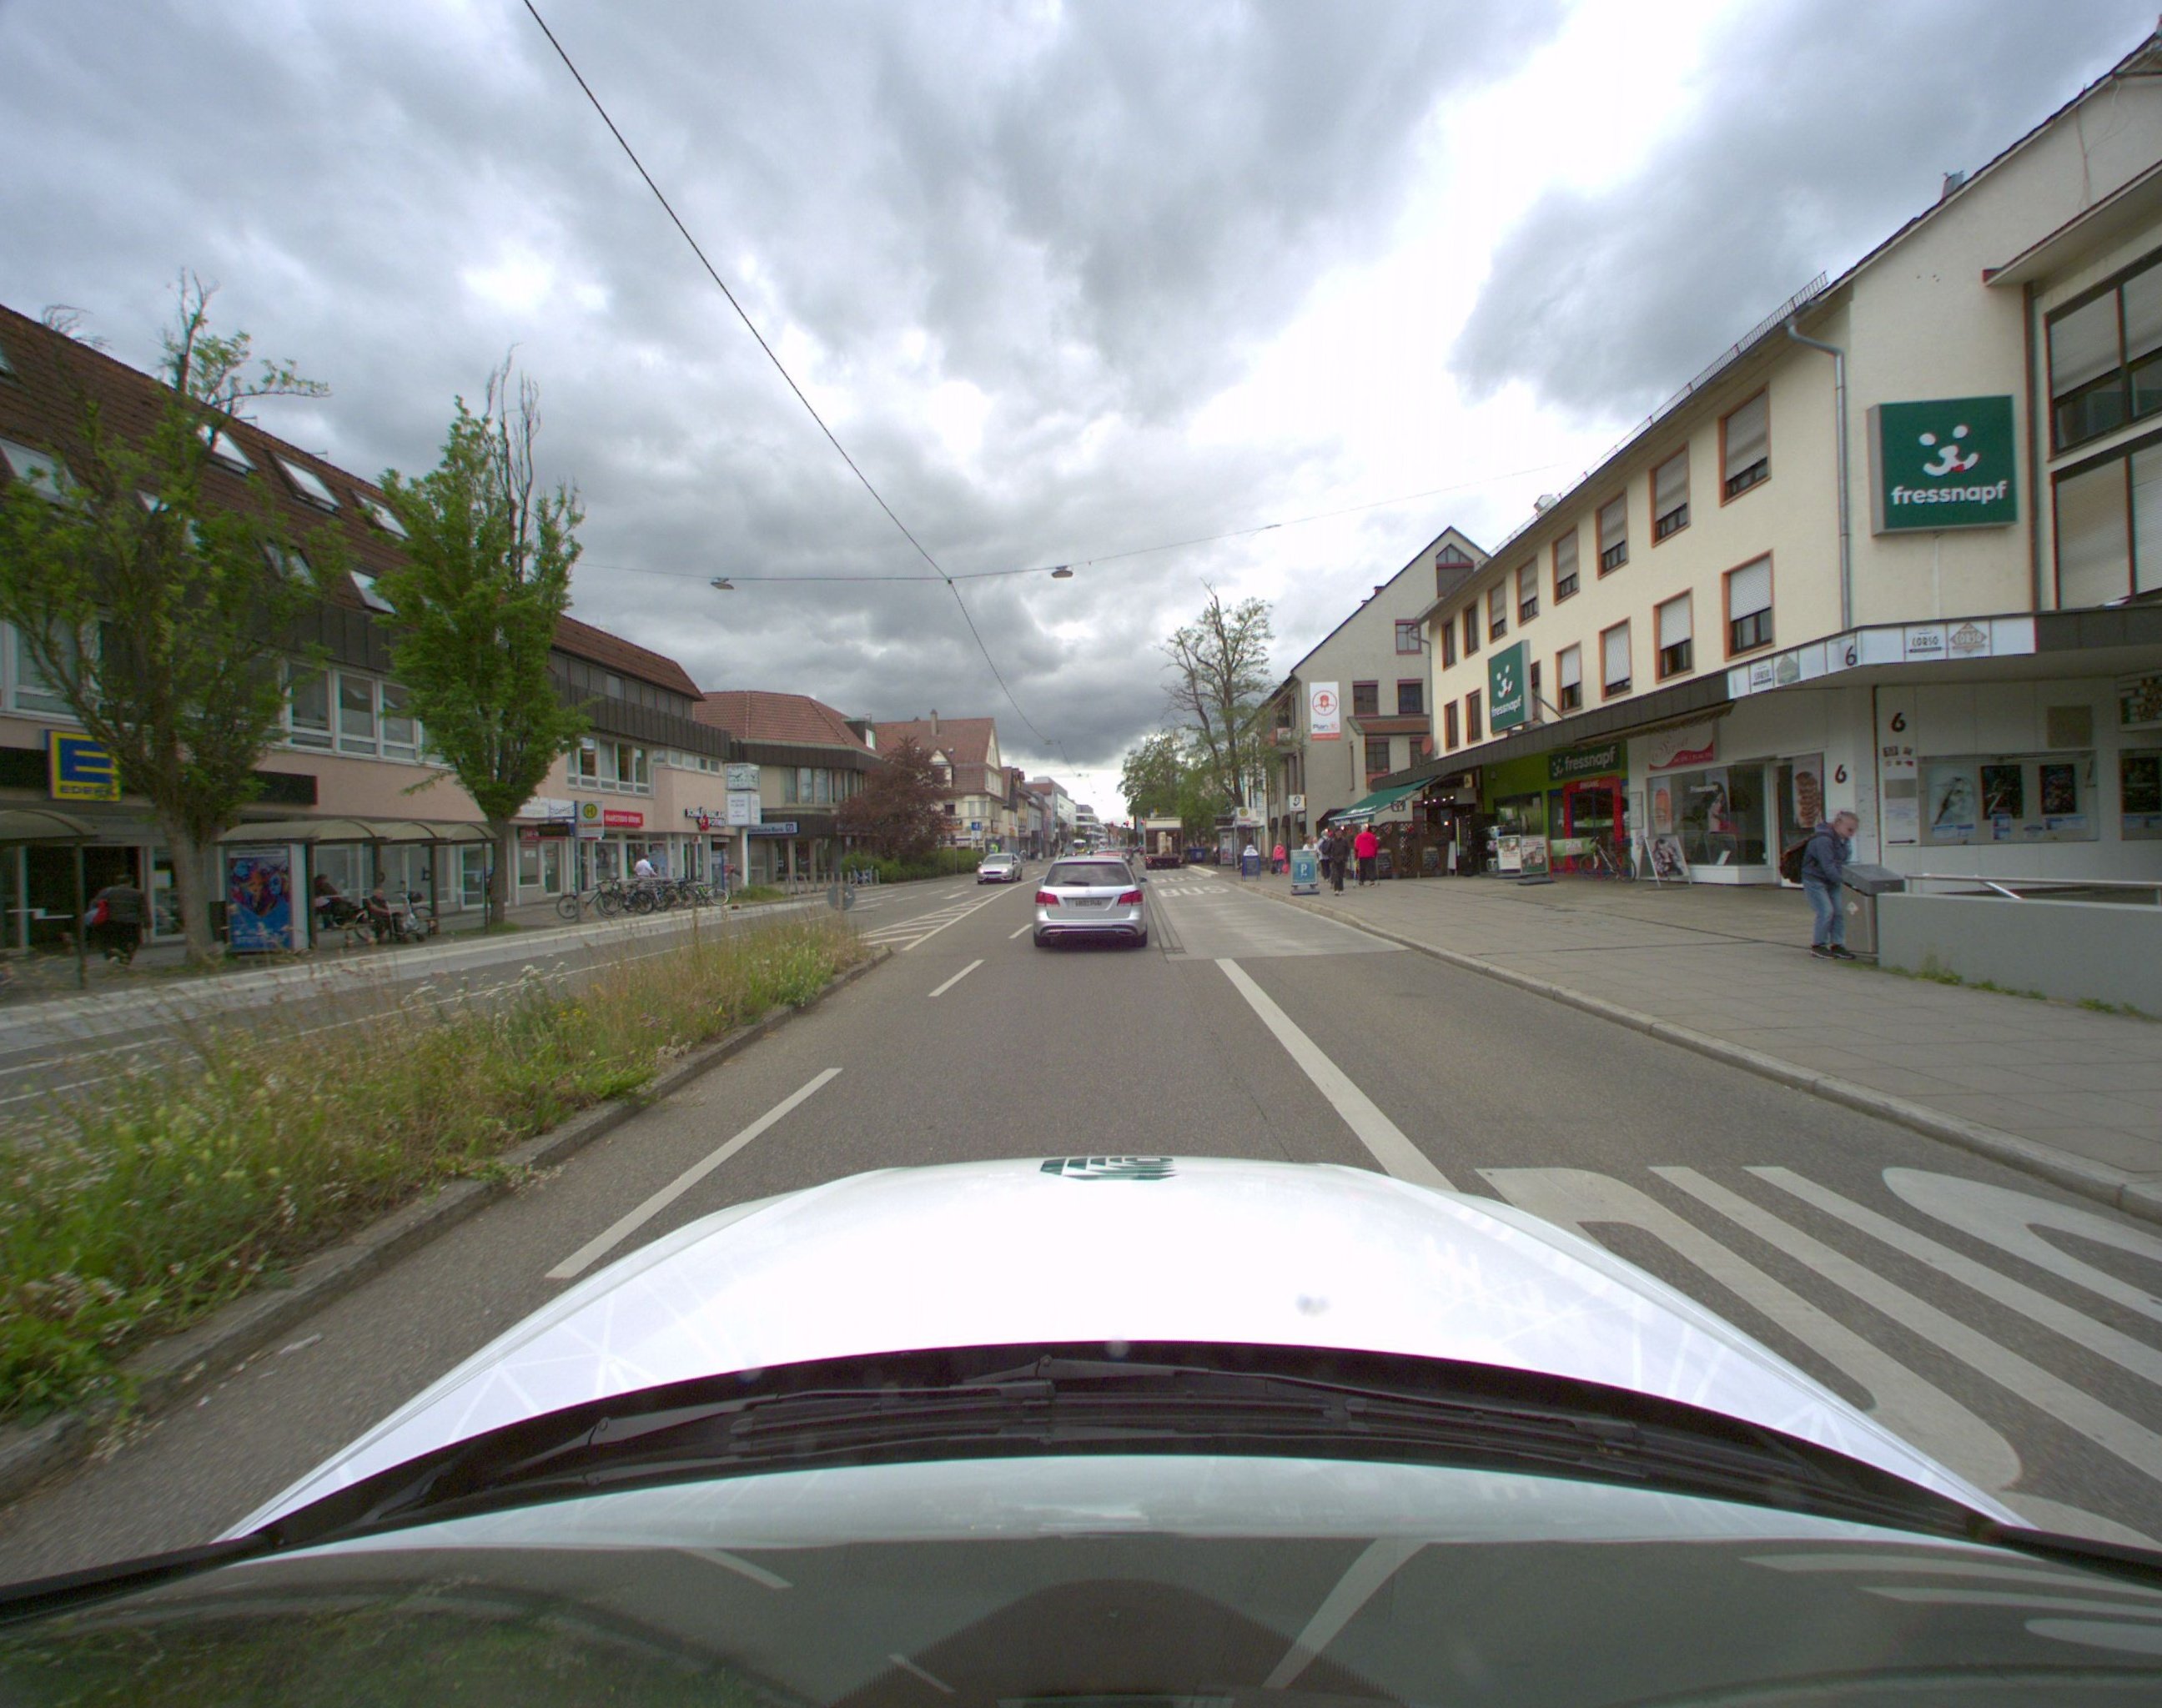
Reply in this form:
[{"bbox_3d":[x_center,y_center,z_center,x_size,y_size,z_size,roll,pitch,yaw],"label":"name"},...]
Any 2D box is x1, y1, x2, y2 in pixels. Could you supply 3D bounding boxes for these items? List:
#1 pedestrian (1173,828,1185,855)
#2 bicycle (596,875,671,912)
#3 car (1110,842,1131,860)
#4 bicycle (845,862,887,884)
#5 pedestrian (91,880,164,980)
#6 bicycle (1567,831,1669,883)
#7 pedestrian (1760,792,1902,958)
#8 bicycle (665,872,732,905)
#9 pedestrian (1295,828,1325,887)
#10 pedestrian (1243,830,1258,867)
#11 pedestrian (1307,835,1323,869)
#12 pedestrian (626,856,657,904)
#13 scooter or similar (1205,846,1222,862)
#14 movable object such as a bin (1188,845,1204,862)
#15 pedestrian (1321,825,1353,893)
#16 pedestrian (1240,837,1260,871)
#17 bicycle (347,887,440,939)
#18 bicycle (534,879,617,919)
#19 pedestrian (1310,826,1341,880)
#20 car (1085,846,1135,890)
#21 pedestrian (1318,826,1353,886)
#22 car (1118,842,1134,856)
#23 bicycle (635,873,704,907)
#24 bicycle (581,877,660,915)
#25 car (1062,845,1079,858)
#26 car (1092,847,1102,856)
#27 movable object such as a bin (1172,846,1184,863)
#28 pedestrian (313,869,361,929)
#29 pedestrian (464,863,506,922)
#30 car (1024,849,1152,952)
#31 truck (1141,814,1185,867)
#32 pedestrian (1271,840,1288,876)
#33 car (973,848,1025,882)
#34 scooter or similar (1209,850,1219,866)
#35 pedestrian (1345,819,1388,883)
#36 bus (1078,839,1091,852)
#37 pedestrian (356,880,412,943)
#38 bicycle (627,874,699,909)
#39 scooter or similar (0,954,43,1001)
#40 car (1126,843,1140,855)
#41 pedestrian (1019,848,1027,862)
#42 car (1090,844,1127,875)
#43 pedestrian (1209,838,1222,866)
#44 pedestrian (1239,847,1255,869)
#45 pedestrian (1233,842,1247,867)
[{"bbox_3d":[6.564,-0.853,54.516,0.611,1.780,0.588,-2,-1,0],"label":"pedestrian"},{"bbox_3d":[-14.535,1.267,26.488,2.015,1.090,0.647,-2,0,-7],"label":"bicycle"},{"bbox_3d":[4.066,-0.319,83.437,1.985,1.684,4.004,-2,1,4],"label":"car"},{"bbox_3d":[-11.249,0.981,42.622,2.015,1.090,0.647,-2,0,-7],"label":"bicycle"},{"bbox_3d":[-16.704,1.303,14.281,0.590,1.652,0.707,-2,1,-31],"label":"pedestrian"},{"bbox_3d":[11.978,0.049,18.275,0.738,1.062,2.352,-3,1,2],"label":"bicycle"},{"bbox_3d":[7.812,0.204,8.522,0.684,1.634,0.854,-2,1,4],"label":"pedestrian"},{"bbox_3d":[-13.723,1.231,29.249,2.015,1.090,0.647,-2,0,-7],"label":"bicycle"},{"bbox_3d":[6.457,0.100,22.945,0.610,1.634,0.615,-3,0,0],"label":"pedestrian"},{"bbox_3d":[9.413,-0.303,45.190,0.608,2.047,0.590,-4,-1,16],"label":"pedestrian"},{"bbox_3d":[11.345,-0.094,39.510,0.583,1.634,0.616,-1,1,4],"label":"pedestrian"},{"bbox_3d":[-16.503,0.957,30.601,0.723,1.764,0.755,1,1,1],"label":"pedestrian"},{"bbox_3d":[10.292,0.035,63.111,1.174,1.196,0.459,-2,0,-6],"label":"scooter or similar"},{"bbox_3d":[9.350,-0.019,66.348,1.138,1.339,1.378,-2,0,5],"label":"movable object such as a bin"},{"bbox_3d":[6.442,0.122,20.492,0.609,1.678,0.616,1,1,5],"label":"pedestrian"},{"bbox_3d":[8.350,0.009,40.262,0.615,1.634,0.789,-2,1,-18],"label":"pedestrian"},{"bbox_3d":[-16.437,1.385,19.540,0.531,1.090,1.931,-1,0,1],"label":"bicycle"},{"bbox_3d":[-15.203,1.346,24.534,2.018,1.090,0.646,-1,0,-11],"label":"bicycle"},{"bbox_3d":[8.143,-0.018,27.170,0.680,1.742,0.781,-4,-1,-2],"label":"pedestrian"},{"bbox_3d":[1.183,0.503,31.525,1.747,1.521,4.004,-2,0,4],"label":"car"},{"bbox_3d":[7.179,0.060,22.969,0.716,1.634,0.615,-3,0,0],"label":"pedestrian"},{"bbox_3d":[5.779,-0.619,104.363,1.985,1.684,4.004,-2,1,4],"label":"car"},{"bbox_3d":[-14.333,1.240,28.385,2.015,1.090,0.647,-2,0,-7],"label":"bicycle"},{"bbox_3d":[-14.356,1.305,25.424,2.012,1.090,0.648,-2,0,-2],"label":"bicycle"},{"bbox_3d":[-1.534,-0.356,122.321,2.059,1.738,4.700,-4,0,5],"label":"car"},{"bbox_3d":[2.734,-0.372,138.727,1.564,1.540,2.961,0,0,1],"label":"car"},{"bbox_3d":[7.951,0.038,66.628,0.877,1.339,1.087,-2,0,5],"label":"movable object such as a bin"},{"bbox_3d":[-19.983,1.207,21.879,0.709,1.547,0.588,-1,1,2],"label":"pedestrian"},{"bbox_3d":[-18.336,1.179,25.064,0.723,1.764,0.755,1,1,1],"label":"pedestrian"},{"bbox_3d":[0.164,0.680,14.140,1.867,1.506,4.002,-1,0,2],"label":"car"},{"bbox_3d":[5.932,-0.991,60.215,2.677,3.561,9.775,-2,1,3],"label":"truck"},{"bbox_3d":[8.813,0.176,36.198,0.666,1.567,0.494,0,2,23],"label":"pedestrian"},{"bbox_3d":[-4.065,0.529,41.012,1.866,1.506,4.348,-3,0,4],"label":"car"},{"bbox_3d":[7.920,0.236,48.454,0.387,0.959,0.351,-3,0,-38],"label":"scooter or similar"},{"bbox_3d":[8.051,-0.078,23.008,0.793,1.742,0.781,-4,-1,-2],"label":"pedestrian"},{"bbox_3d":[0.782,-2.052,201.704,2.763,3.165,5.939,-2,0,4],"label":"bus"},{"bbox_3d":[-15.689,1.287,18.332,0.708,1.364,0.589,-1,1,5],"label":"pedestrian"},{"bbox_3d":[-14.193,1.273,27.683,2.015,1.090,0.647,-2,0,-7],"label":"bicycle"},{"bbox_3d":[-15.257,1.747,11.377,0.590,0.601,0.703,-2,0,2],"label":"scooter or similar"},{"bbox_3d":[7.730,-0.729,120.630,1.985,1.684,4.004,-2,1,4],"label":"car"},{"bbox_3d":[-6.827,0.057,95.715,0.814,1.634,0.979,0,0,-2],"label":"pedestrian"},{"bbox_3d":[1.636,0.262,47.488,1.985,1.684,4.004,-2,1,4],"label":"car"},{"bbox_3d":[8.075,-0.121,48.822,0.536,1.634,0.584,1,1,-21],"label":"pedestrian"},{"bbox_3d":[8.688,0.207,42.630,0.710,1.166,0.587,-1,1,-4],"label":"pedestrian"},{"bbox_3d":[9.026,0.025,46.176,0.608,1.401,0.590,-4,-1,16],"label":"pedestrian"}]
